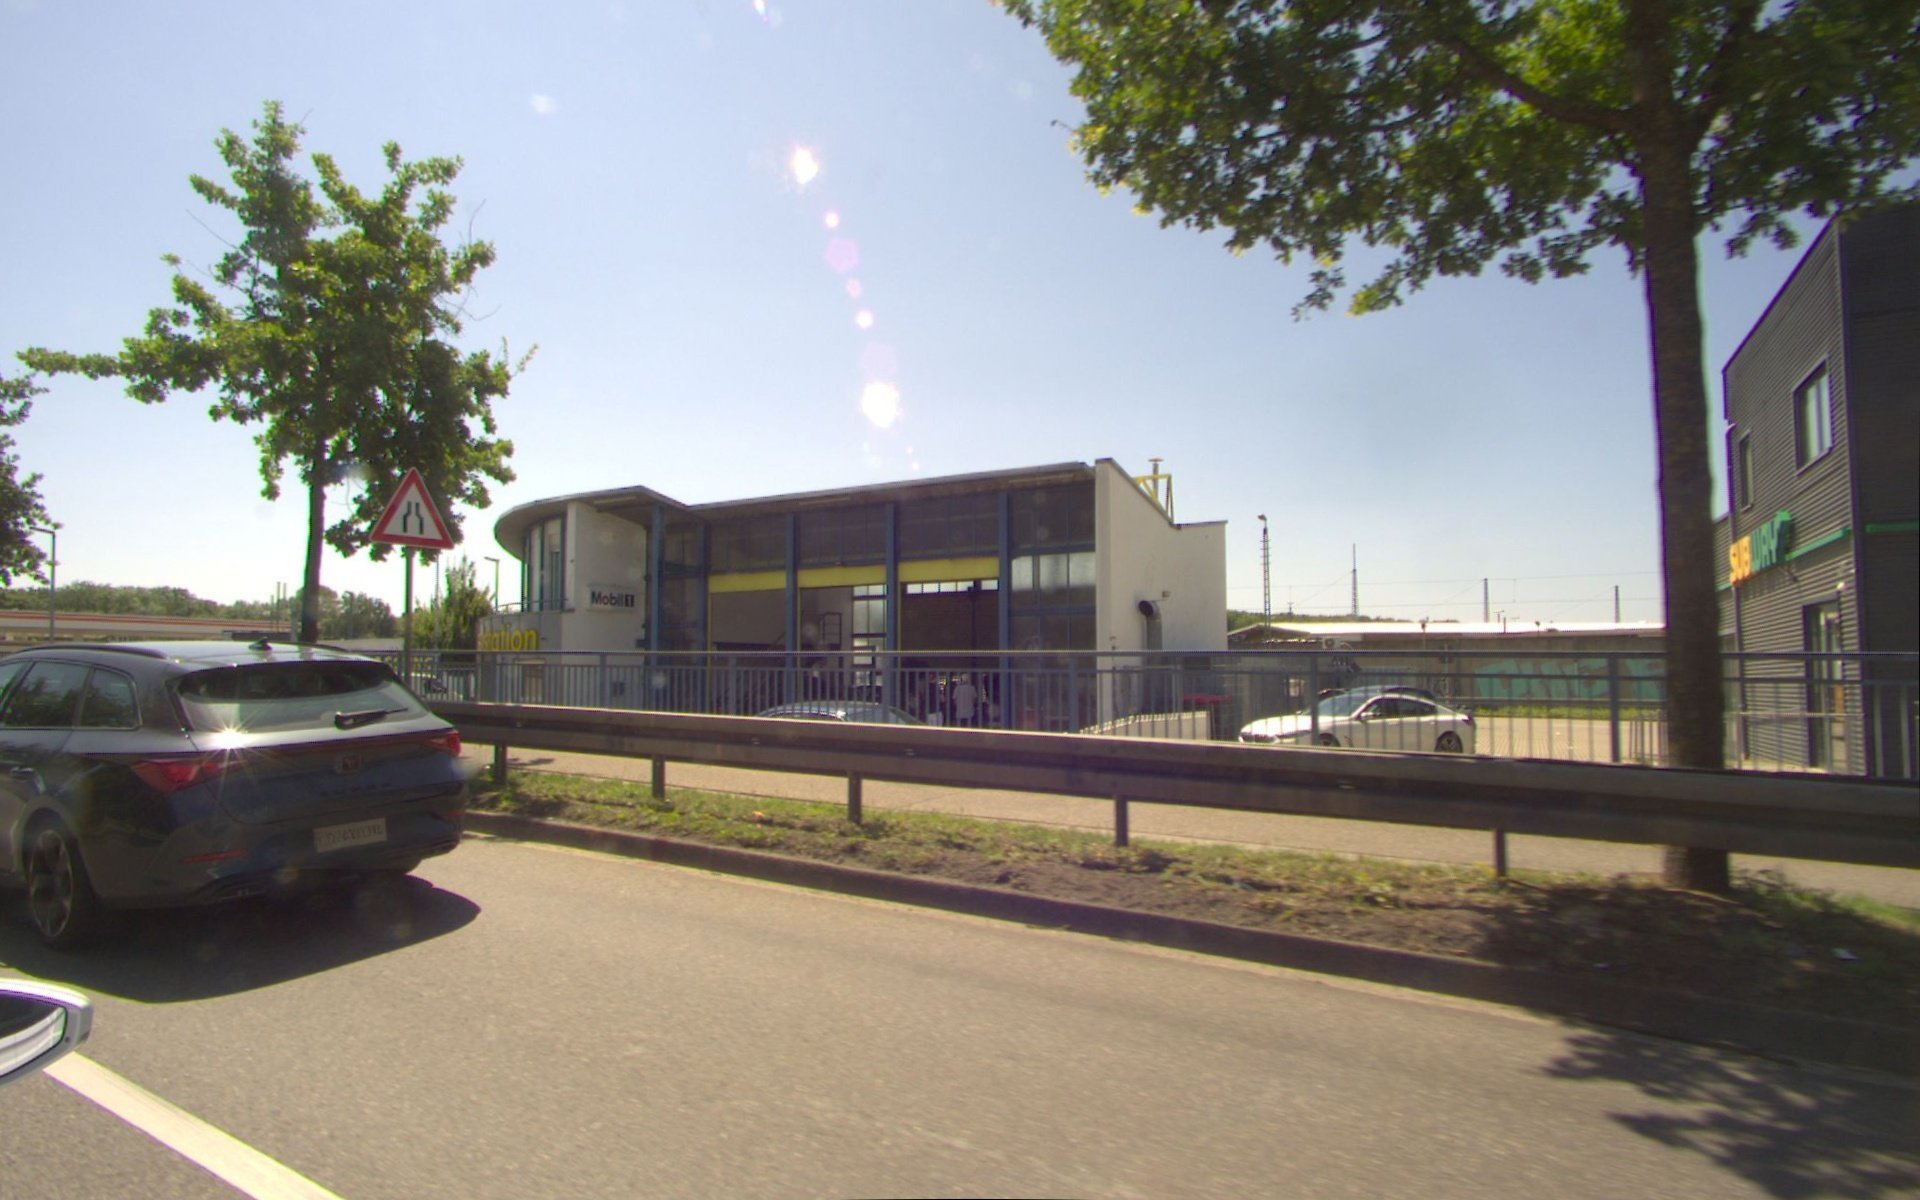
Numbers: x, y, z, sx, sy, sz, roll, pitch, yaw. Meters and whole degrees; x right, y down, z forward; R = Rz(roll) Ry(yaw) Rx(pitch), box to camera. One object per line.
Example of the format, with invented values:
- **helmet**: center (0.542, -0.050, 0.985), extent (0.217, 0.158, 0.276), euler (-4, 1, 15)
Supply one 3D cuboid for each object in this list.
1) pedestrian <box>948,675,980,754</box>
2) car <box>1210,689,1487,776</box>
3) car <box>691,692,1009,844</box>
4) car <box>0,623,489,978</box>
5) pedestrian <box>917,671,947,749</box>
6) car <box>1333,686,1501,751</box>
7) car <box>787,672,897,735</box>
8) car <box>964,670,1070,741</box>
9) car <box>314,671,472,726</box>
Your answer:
- **pedestrian**: center (0.096, 2.541, 22.377), extent (0.581, 1.724, 0.425), euler (-1, -2, 30)
- **car**: center (7.544, 2.496, 19.452), extent (4.998, 1.374, 1.996), euler (1, -3, -21)
- **car**: center (-1.446, 2.004, 12.723), extent (3.843, 1.551, 1.631), euler (-2, -3, 31)
- **car**: center (-4.825, 0.932, 5.931), extent (4.173, 1.474, 1.603), euler (-2, -3, 30)
- **pedestrian**: center (-0.624, 2.469, 22.695), extent (0.481, 1.724, 0.521), euler (-1, -2, 30)
- **car**: center (12.523, 3.195, 27.447), extent (4.326, 1.578, 1.652), euler (1, -3, -21)
- **car**: center (-3.494, 3.064, 30.231), extent (1.624, 1.704, 3.670), euler (-1, -3, 25)
- **car**: center (1.612, 2.799, 27.140), extent (1.624, 1.704, 3.670), euler (-1, -3, 25)
- **car**: center (-19.221, 3.294, 34.177), extent (1.572, 1.680, 4.594), euler (-2, -3, 28)
